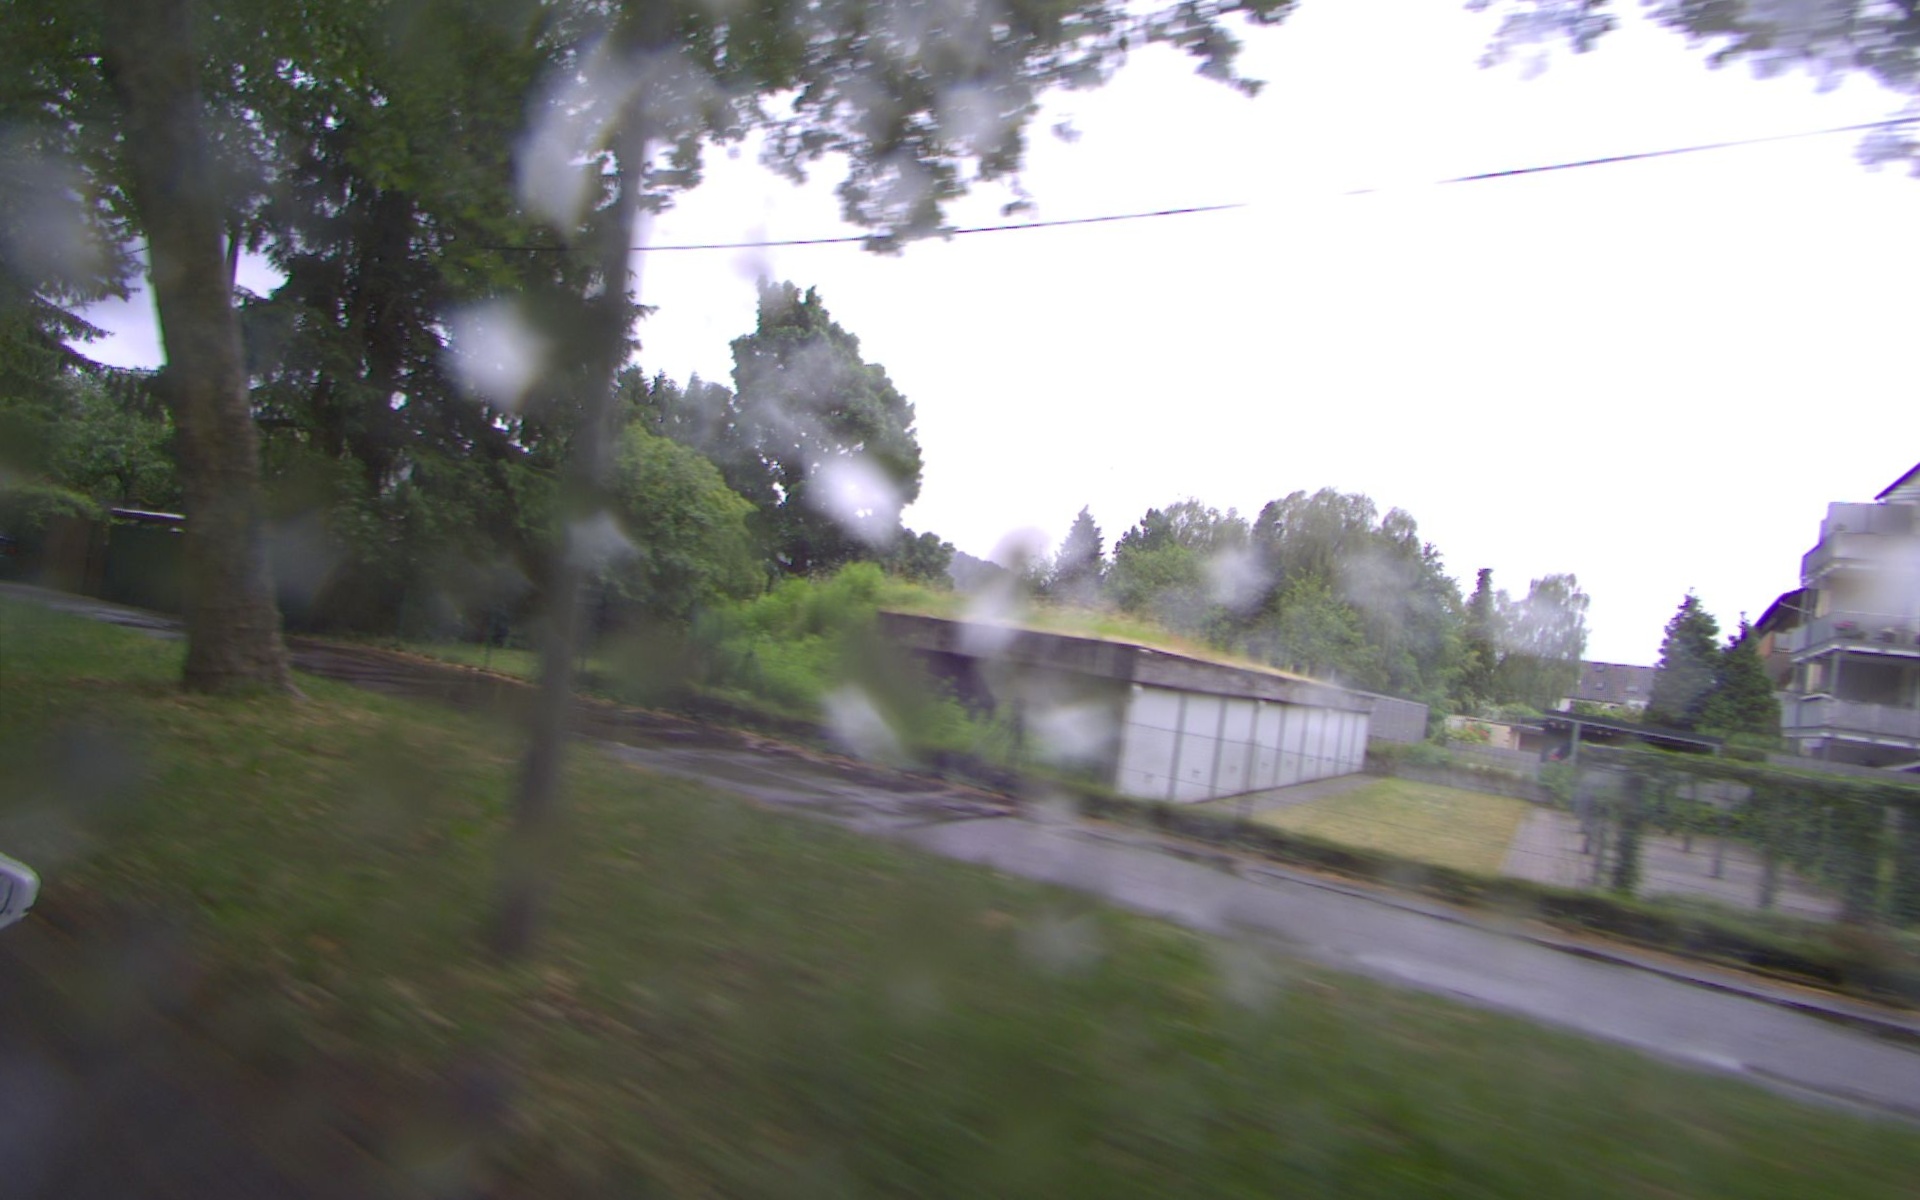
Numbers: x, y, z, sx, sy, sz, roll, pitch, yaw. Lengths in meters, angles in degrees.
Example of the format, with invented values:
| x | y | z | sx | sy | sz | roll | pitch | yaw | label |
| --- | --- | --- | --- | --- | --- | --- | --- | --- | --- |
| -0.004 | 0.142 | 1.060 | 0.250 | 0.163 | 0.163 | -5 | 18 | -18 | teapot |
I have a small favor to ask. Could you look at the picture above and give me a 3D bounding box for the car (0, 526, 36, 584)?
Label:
| x | y | z | sx | sy | sz | roll | pitch | yaw | label |
| --- | --- | --- | --- | --- | --- | --- | --- | --- | --- |
| -25.970 | -1.431 | 25.828 | 3.929 | 1.337 | 1.806 | 7 | -6 | 26 | car |
